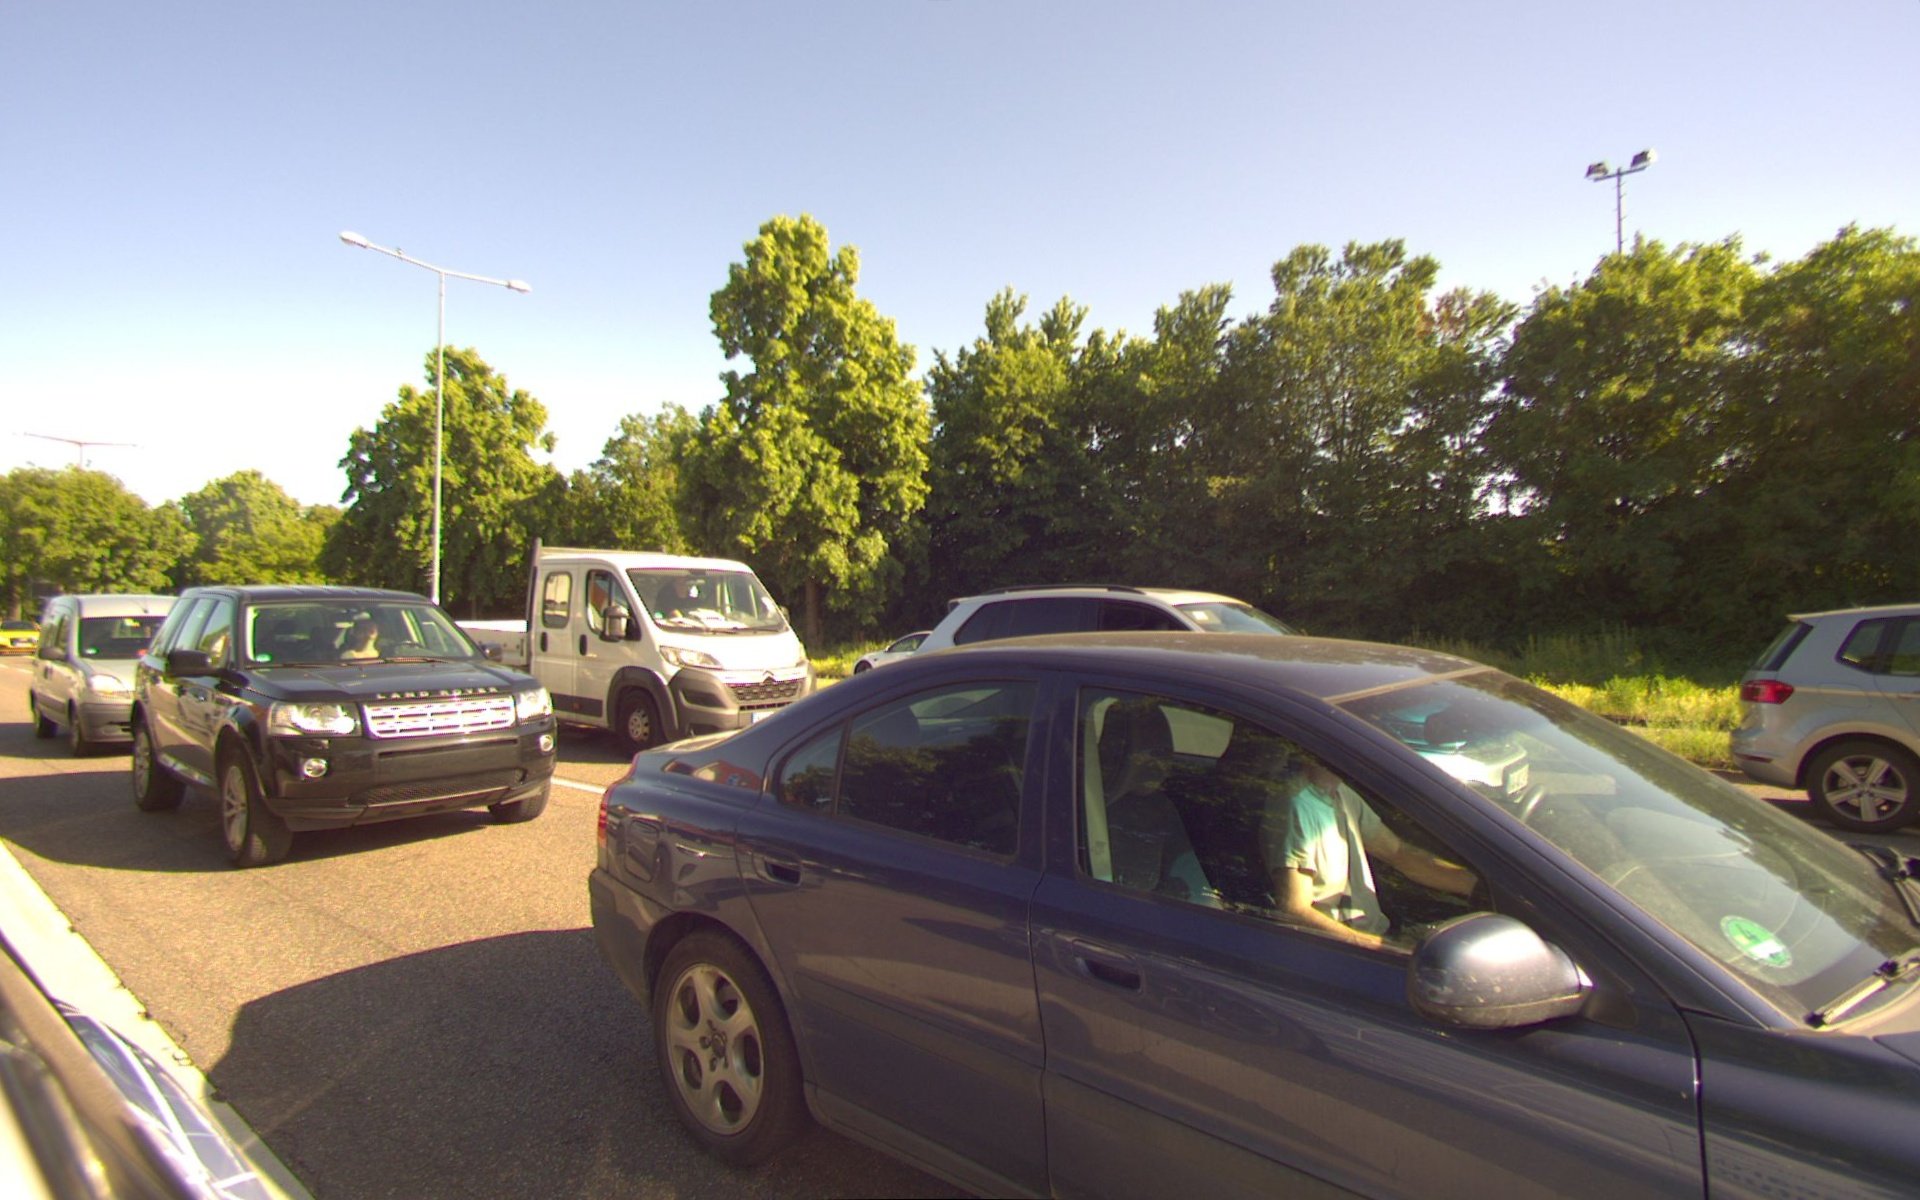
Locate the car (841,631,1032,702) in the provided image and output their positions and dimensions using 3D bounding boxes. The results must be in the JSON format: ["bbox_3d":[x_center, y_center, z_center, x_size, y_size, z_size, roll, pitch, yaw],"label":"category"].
[{"bbox_3d":[-0.632,1.516,24.150,4.502,1.536,1.868,-2,-3,42],"label":"car"}]

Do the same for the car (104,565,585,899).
[{"bbox_3d":[-4.692,0.714,7.421,4.384,1.744,1.793,-1,-1,41],"label":"car"}]

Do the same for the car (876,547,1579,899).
[{"bbox_3d":[1.652,0.679,7.194,4.422,1.723,1.973,-2,-3,41],"label":"car"}]

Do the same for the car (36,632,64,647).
[{"bbox_3d":[-104.800,4.505,116.555,3.998,1.697,1.854,-2,-3,41],"label":"car"}]

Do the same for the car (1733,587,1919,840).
[{"bbox_3d":[7.634,0.732,6.415,4.206,1.623,1.810,-2,-3,42],"label":"car"}]

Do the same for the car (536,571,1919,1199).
[{"bbox_3d":[0.895,0.702,2.426,4.454,1.463,1.757,-1,0,41],"label":"car"}]

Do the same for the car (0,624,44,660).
[{"bbox_3d":[-41.315,1.821,44.019,3.929,1.486,1.682,-2,-2,41],"label":"car"}]

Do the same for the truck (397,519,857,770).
[{"bbox_3d":[-4.418,0.452,12.465,6.838,2.337,2.158,-1,-1,40],"label":"truck"}]

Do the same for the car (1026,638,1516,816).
[{"bbox_3d":[3.034,1.131,10.545,4.550,1.440,1.811,-2,-3,41],"label":"car"}]

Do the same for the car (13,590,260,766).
[{"bbox_3d":[-10.049,0.810,12.222,4.384,1.765,1.611,-1,-1,41],"label":"car"}]
